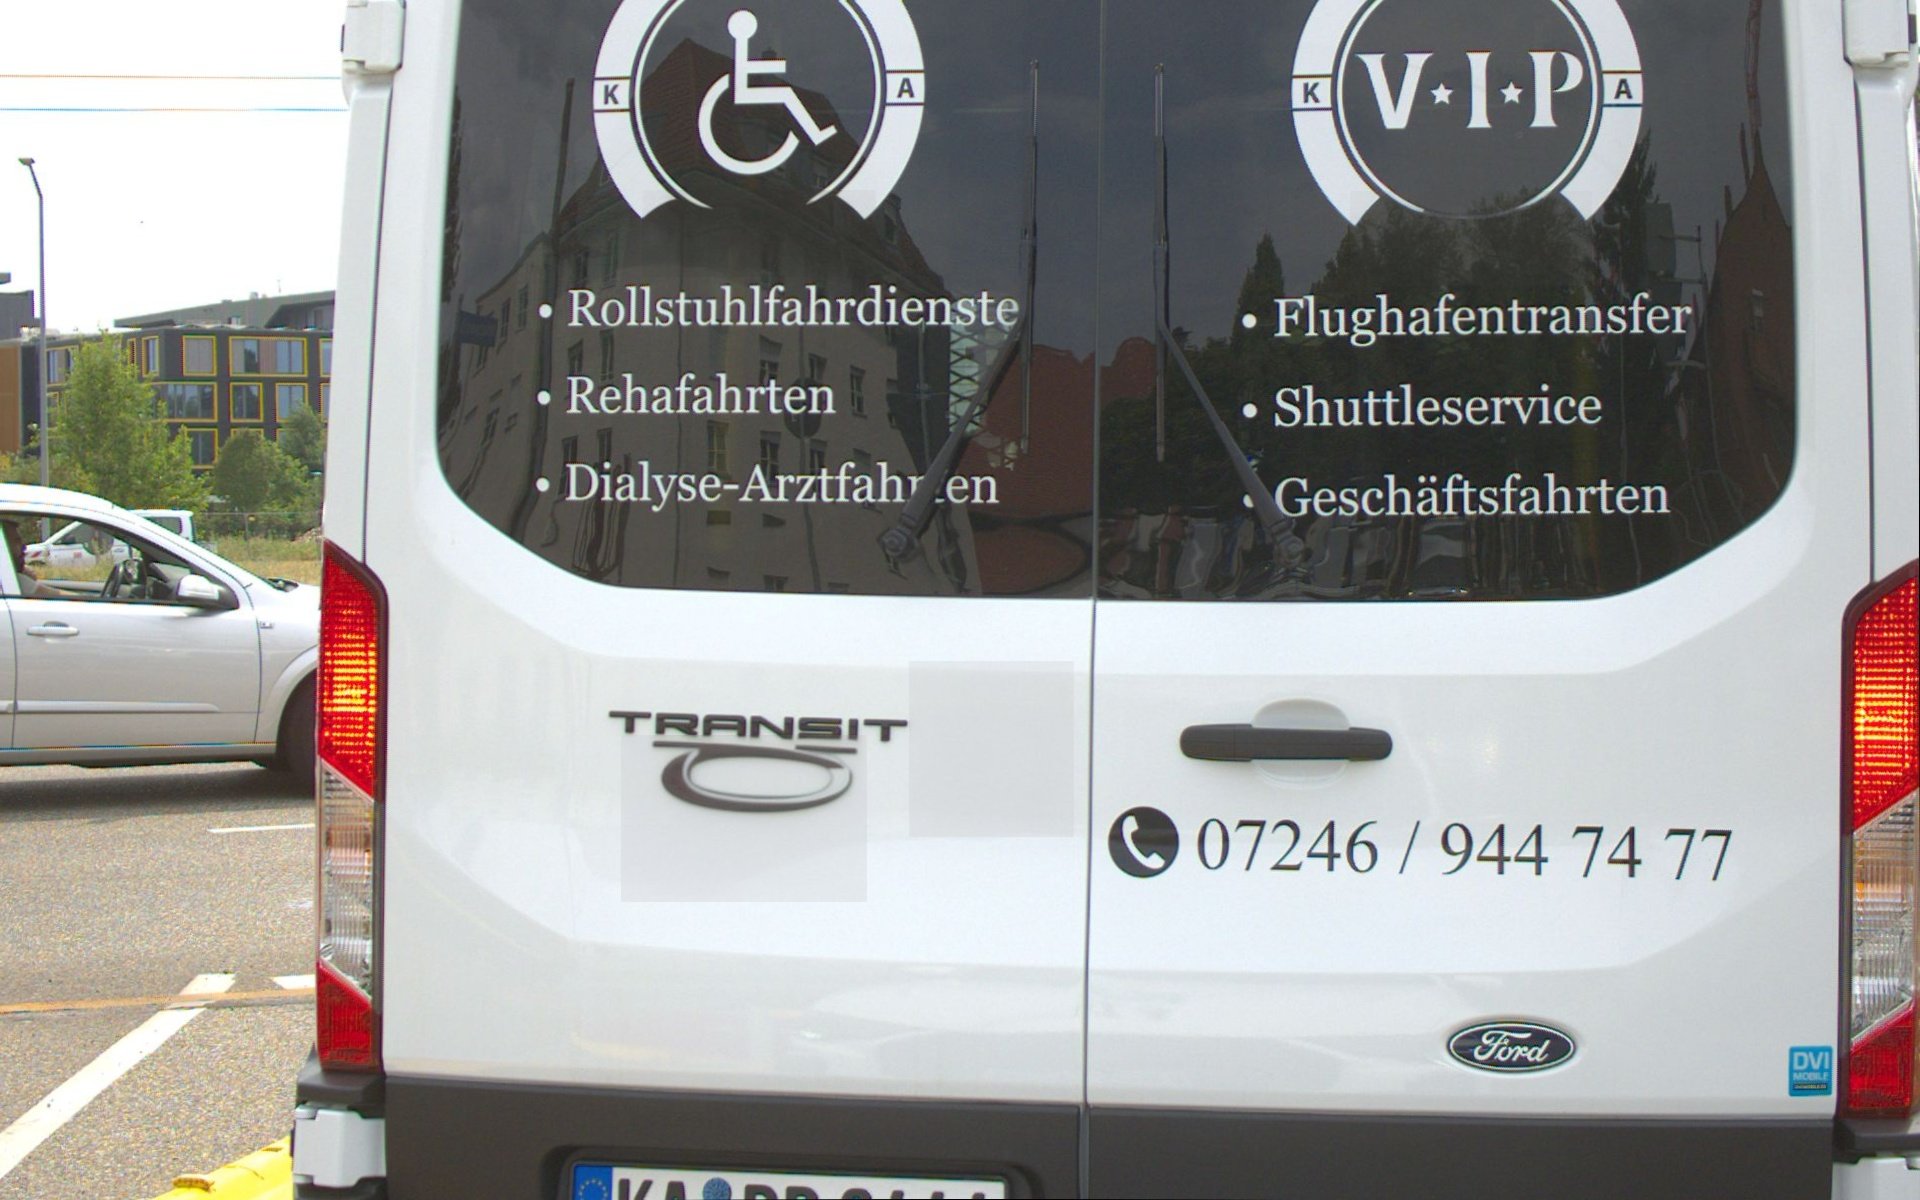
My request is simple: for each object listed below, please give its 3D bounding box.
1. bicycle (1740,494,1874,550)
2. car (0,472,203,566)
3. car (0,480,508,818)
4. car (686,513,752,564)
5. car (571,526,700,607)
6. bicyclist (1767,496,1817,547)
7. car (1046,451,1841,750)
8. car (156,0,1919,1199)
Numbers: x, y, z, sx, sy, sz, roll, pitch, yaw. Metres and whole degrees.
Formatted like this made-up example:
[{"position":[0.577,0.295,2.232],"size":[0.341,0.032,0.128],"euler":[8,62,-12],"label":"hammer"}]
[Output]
[{"position":[14.670,-1.342,59.571],"size":[2.202,0.935,0.613],"euler":[0,0,37],"label":"bicycle"},{"position":[-19.038,-1.770,76.196],"size":[4.346,2.007,2.001],"euler":[0,0,-14],"label":"car"},{"position":[-4.388,0.196,15.889],"size":[4.245,1.457,1.831],"euler":[-1,2,-20],"label":"car"},{"position":[-7.042,-1.784,100.185],"size":[1.827,1.458,4.001],"euler":[-1,1,-6],"label":"car"},{"position":[-8.228,-0.845,87.454],"size":[1.995,2.007,3.997],"euler":[0,0,15],"label":"car"},{"position":[14.457,-1.363,59.721],"size":[0.657,0.880,0.606],"euler":[0,0,37],"label":"bicyclist"},{"position":[2.792,-0.064,19.512],"size":[4.357,1.528,1.733],"euler":[-2,2,-31],"label":"car"},{"position":[0.413,-0.017,6.496],"size":[2.126,2.688,5.631],"euler":[0,1,5],"label":"car"}]
